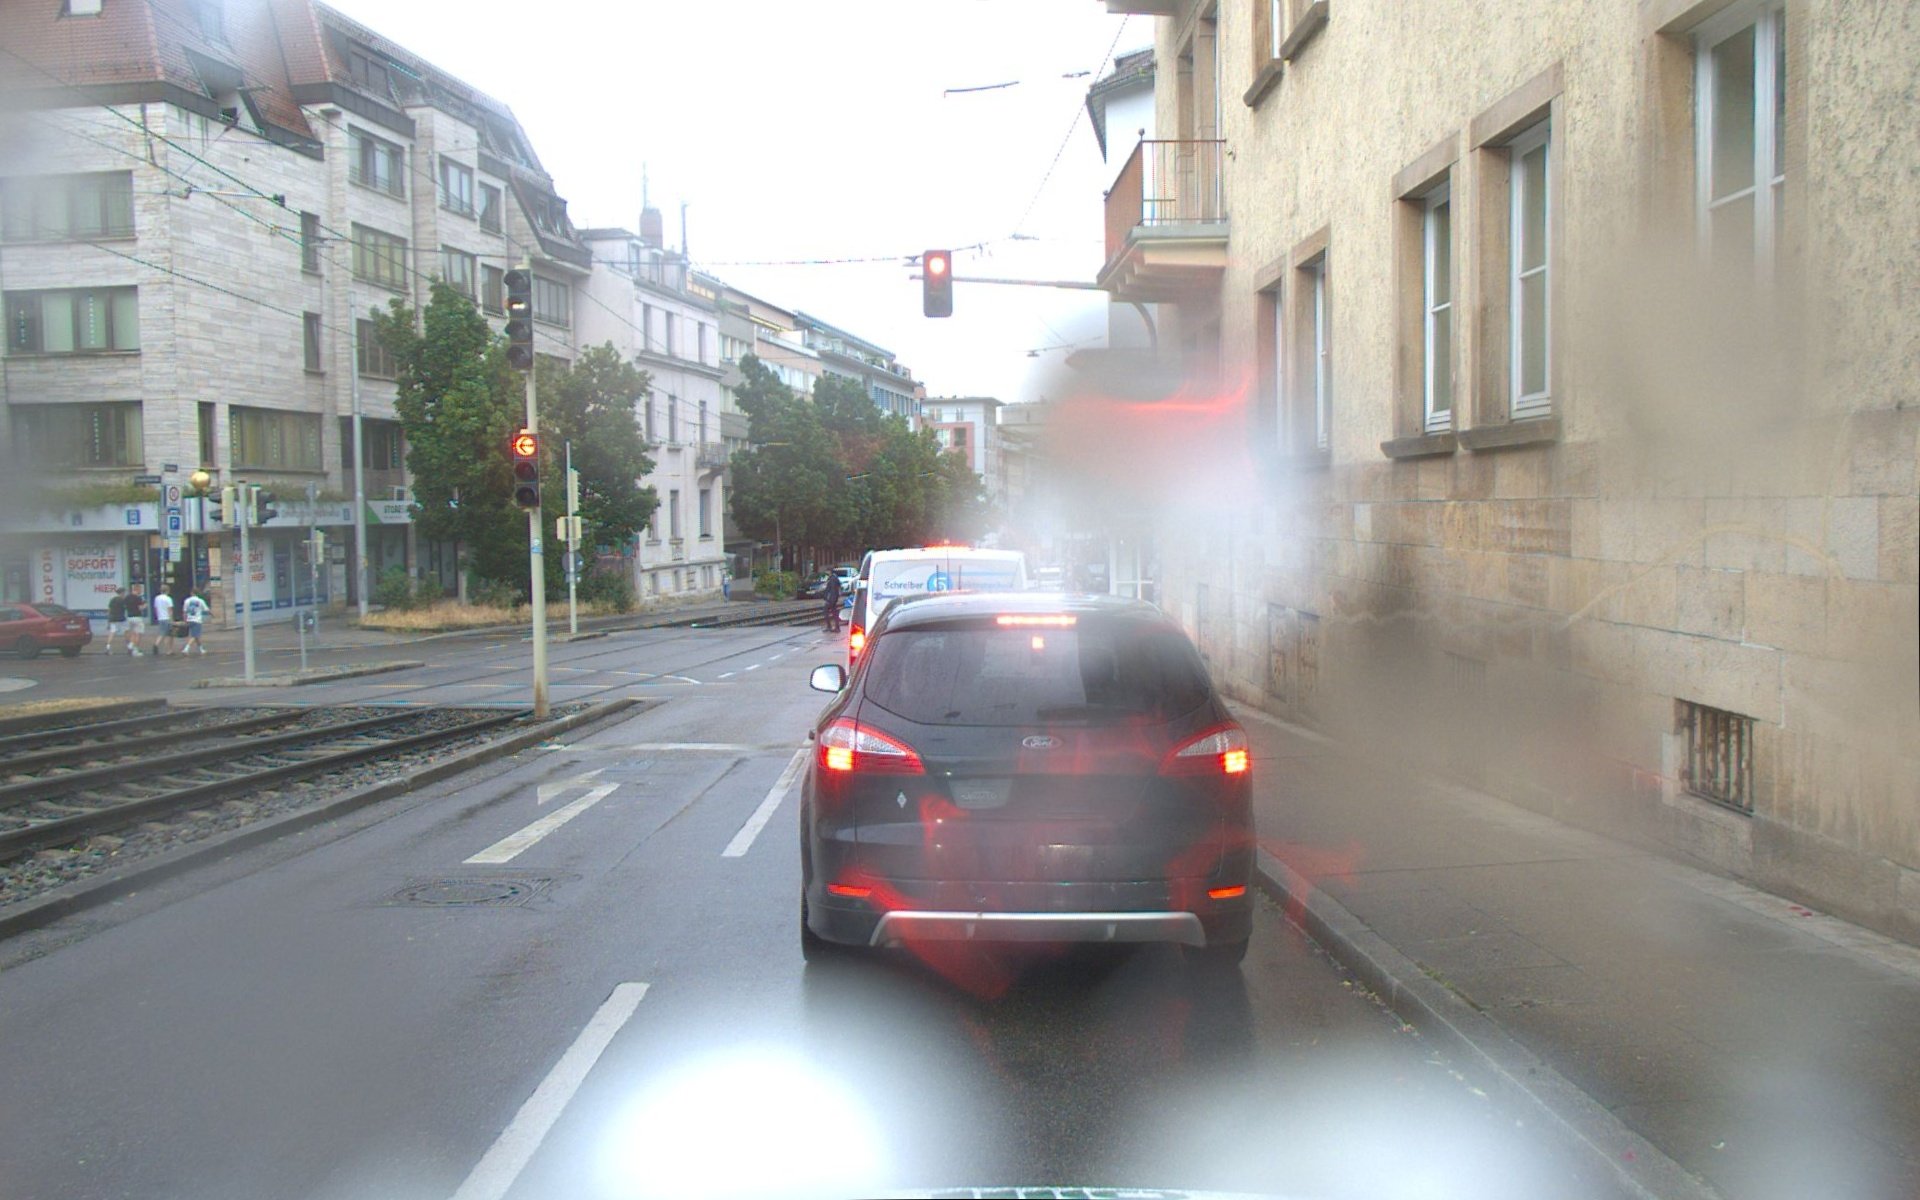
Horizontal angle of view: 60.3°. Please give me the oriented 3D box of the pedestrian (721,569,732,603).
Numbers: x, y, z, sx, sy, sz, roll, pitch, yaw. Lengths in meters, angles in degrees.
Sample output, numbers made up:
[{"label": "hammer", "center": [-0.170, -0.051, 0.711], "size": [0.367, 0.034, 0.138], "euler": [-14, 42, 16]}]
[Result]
[{"label": "pedestrian", "center": [-11.561, -0.707, 81.936], "size": [0.458, 1.681, 0.582], "euler": [1, 0, -3]}]

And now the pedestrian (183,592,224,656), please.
[{"label": "pedestrian", "center": [-19.109, 0.601, 41.794], "size": [0.634, 1.576, 0.684], "euler": [1, 0, 7]}]

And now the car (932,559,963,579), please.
[{"label": "car", "center": [-1.034, -2.606, 139.953], "size": [1.816, 1.665, 4.939], "euler": [0, 0, 9]}]

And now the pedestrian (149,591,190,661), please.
[{"label": "pedestrian", "center": [-20.072, 0.652, 42.006], "size": [0.634, 1.754, 0.684], "euler": [1, 0, 7]}]

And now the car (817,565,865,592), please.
[{"label": "car", "center": [-7.156, -1.299, 99.990], "size": [1.816, 1.575, 4.725], "euler": [0, 0, 9]}]

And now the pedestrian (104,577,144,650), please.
[{"label": "pedestrian", "center": [-21.979, 0.352, 43.483], "size": [0.634, 1.874, 0.684], "euler": [1, 0, 7]}]

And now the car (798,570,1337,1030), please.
[{"label": "car", "center": [0.333, 0.676, 7.580], "size": [1.805, 1.533, 3.999], "euler": [1, 0, -1]}]

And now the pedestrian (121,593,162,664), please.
[{"label": "pedestrian", "center": [-20.887, 0.725, 42.208], "size": [0.634, 1.780, 0.684], "euler": [1, 0, 7]}]

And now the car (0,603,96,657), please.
[{"label": "car", "center": [-24.425, 0.774, 42.645], "size": [3.614, 1.341, 1.595], "euler": [-1, 0, 13]}]

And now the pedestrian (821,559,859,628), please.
[{"label": "pedestrian", "center": [-3.273, -0.171, 45.347], "size": [0.911, 1.862, 0.960], "euler": [1, 0, 1]}]

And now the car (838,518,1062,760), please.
[{"label": "car", "center": [-0.153, 0.340, 16.820], "size": [1.948, 2.096, 4.643], "euler": [1, 0, -2]}]

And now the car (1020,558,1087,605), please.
[{"label": "car", "center": [3.228, -0.619, 56.417], "size": [1.763, 1.481, 4.590], "euler": [-2, 0, 10]}]

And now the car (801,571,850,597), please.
[{"label": "car", "center": [-7.611, -0.900, 94.010], "size": [1.657, 1.401, 4.725], "euler": [0, 0, 9]}]

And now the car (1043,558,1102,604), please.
[{"label": "car", "center": [4.330, -0.700, 63.015], "size": [1.806, 1.661, 4.590], "euler": [-1, 0, 10]}]
